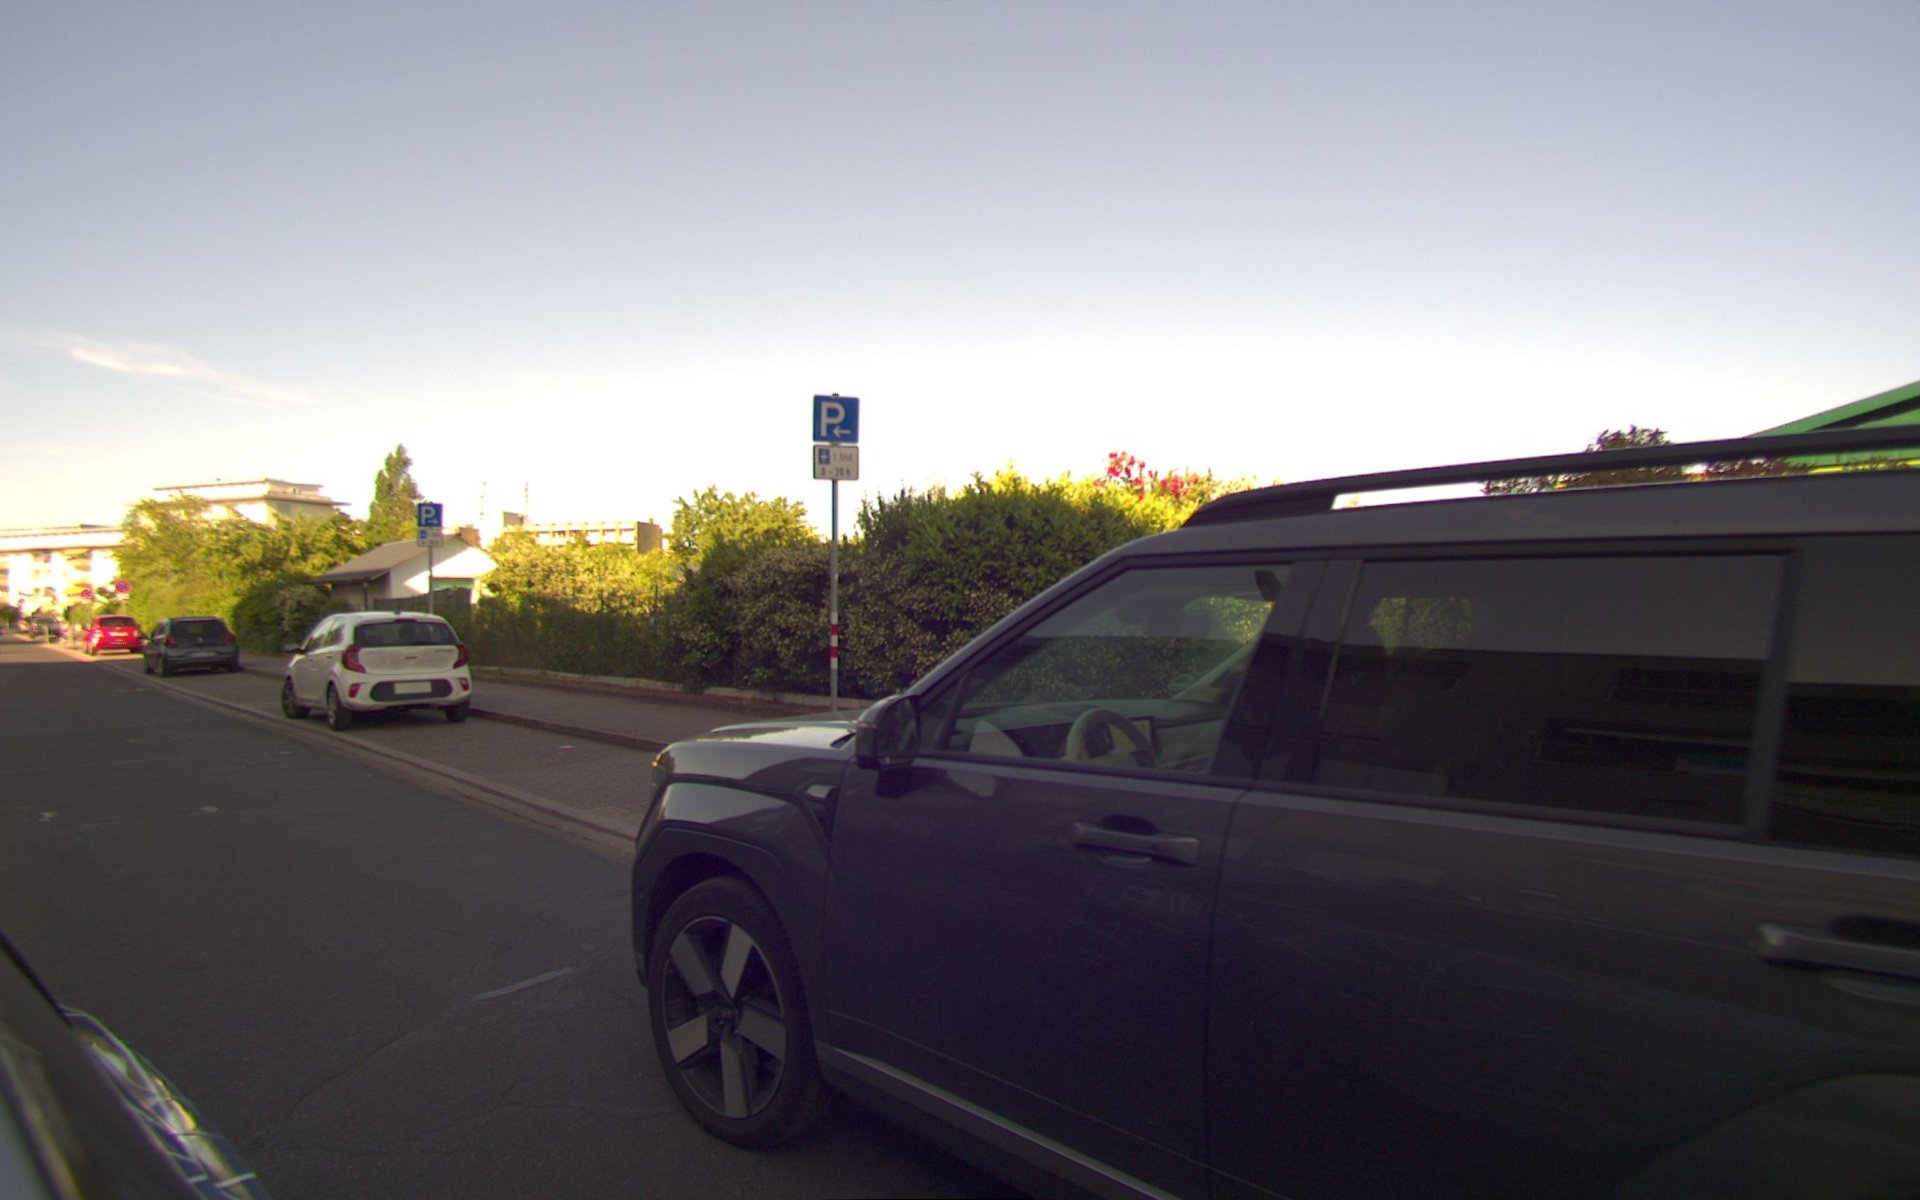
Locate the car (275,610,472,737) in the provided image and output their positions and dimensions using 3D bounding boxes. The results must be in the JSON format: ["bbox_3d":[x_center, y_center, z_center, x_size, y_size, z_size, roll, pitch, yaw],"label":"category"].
[{"bbox_3d":[-8.068,0.908,13.805,1.510,1.499,3.403,0,-1,-45],"label":"car"}]

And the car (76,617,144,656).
[{"bbox_3d":[-33.120,1.387,39.384,1.676,1.440,4.388,0,-1,-45],"label":"car"}]

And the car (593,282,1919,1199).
[{"bbox_3d":[1.198,0.557,2.231,1.920,1.740,4.841,1,-2,-45],"label":"car"}]

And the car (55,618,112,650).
[{"bbox_3d":[-40.087,1.530,46.251,1.676,1.380,3.912,0,-1,-45],"label":"car"}]

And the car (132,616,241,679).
[{"bbox_3d":[-20.353,1.195,26.559,1.676,1.434,4.519,-3,1,-45],"label":"car"}]
